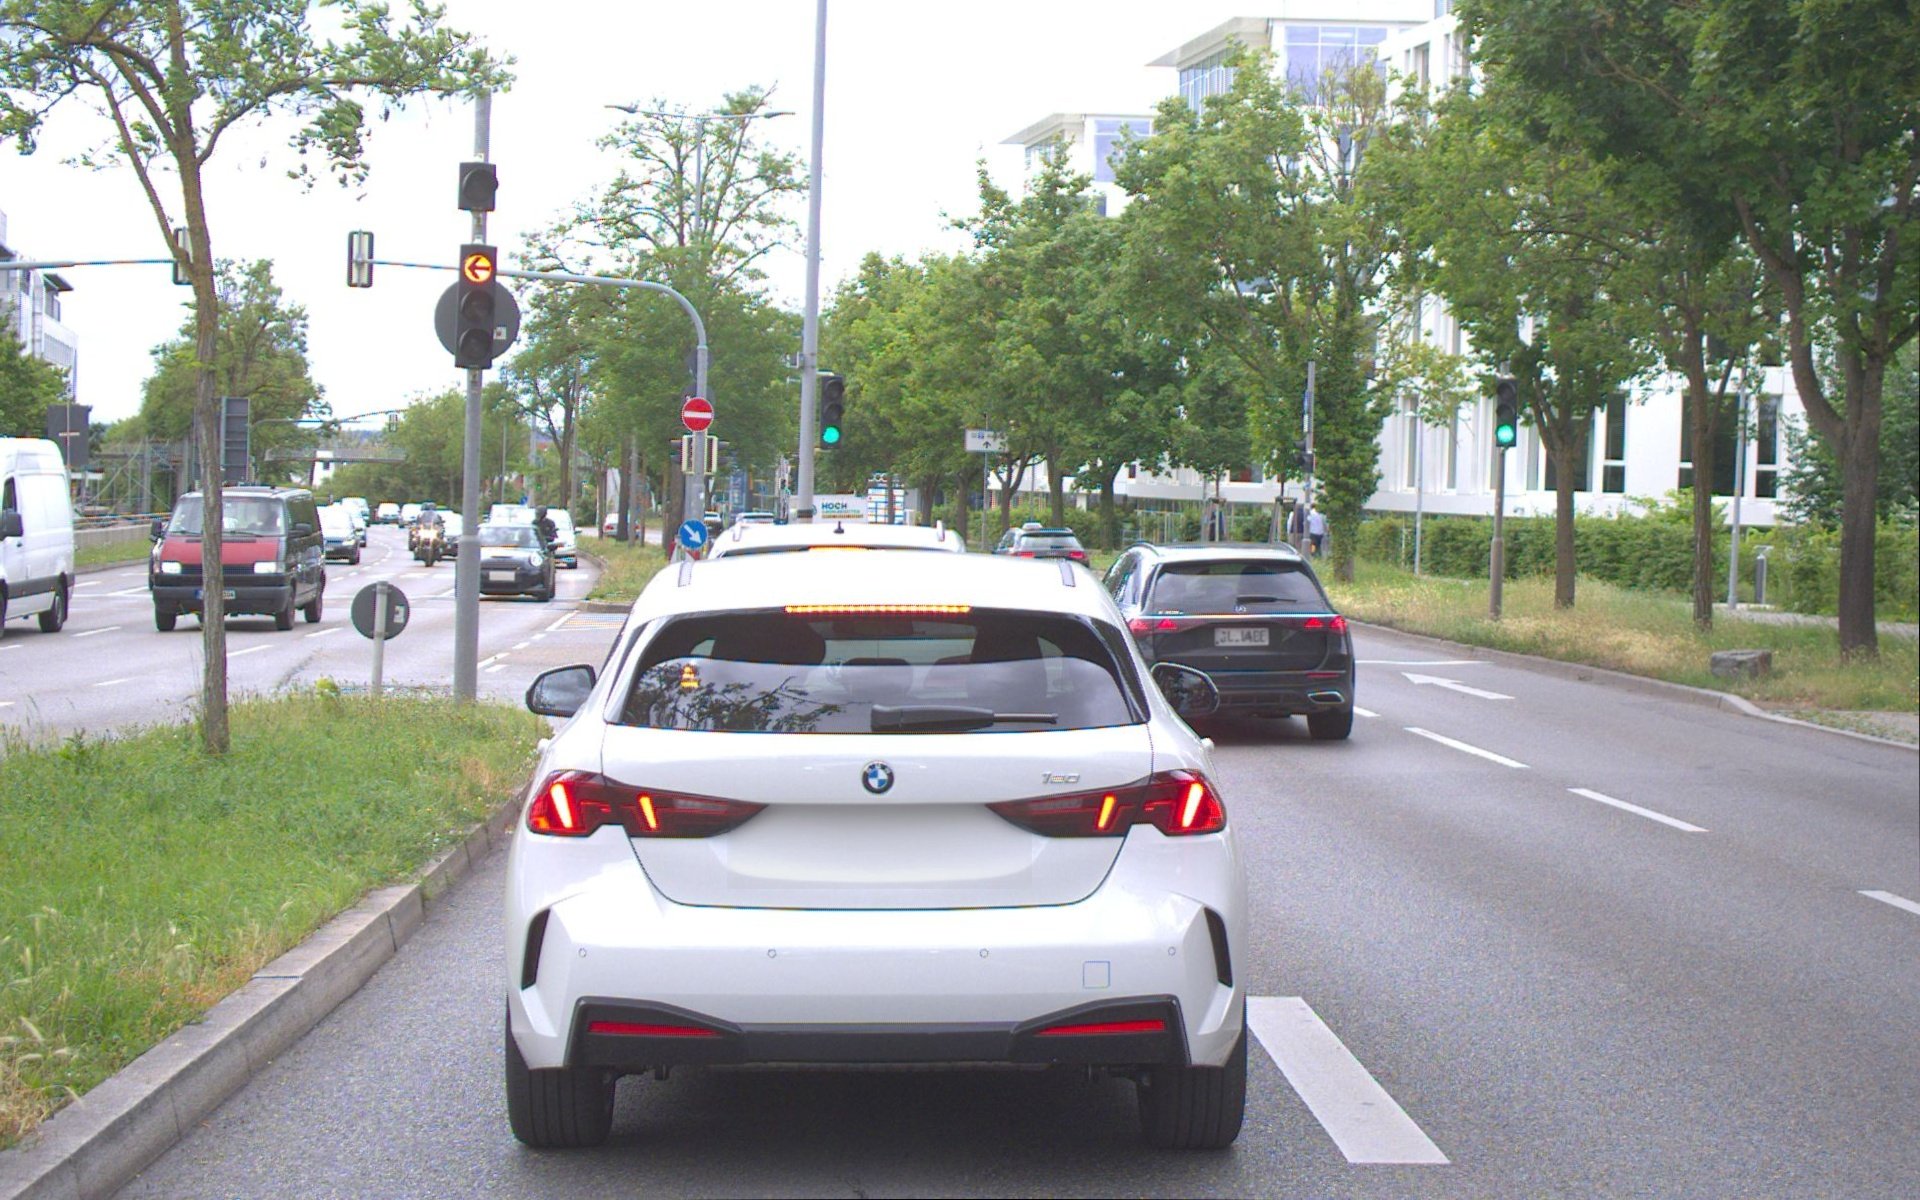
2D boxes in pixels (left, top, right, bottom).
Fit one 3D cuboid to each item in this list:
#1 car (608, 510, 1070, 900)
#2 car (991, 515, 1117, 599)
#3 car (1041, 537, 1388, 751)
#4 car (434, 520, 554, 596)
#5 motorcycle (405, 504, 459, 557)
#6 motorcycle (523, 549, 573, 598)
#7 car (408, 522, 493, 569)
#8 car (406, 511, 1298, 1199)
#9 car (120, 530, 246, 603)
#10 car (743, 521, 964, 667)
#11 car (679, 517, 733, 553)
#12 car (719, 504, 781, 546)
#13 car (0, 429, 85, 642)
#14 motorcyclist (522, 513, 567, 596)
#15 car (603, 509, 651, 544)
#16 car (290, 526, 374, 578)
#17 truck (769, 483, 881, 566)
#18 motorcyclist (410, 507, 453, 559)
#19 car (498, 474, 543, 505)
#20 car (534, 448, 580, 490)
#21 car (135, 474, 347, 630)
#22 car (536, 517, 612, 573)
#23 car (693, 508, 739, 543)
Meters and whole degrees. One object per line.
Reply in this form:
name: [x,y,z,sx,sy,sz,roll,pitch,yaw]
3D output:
car: [-0.529,0.438,17.121,1.993,1.666,4.000,1,1,0]
car: [1.854,-0.892,69.244,1.993,1.590,4.001,1,1,-6]
car: [1.852,0.268,26.690,2.053,1.481,4.974,0,1,-3]
car: [-8.567,-0.791,63.482,1.754,1.366,3.780,0,1,-1]
motorcycle: [-14.466,-1.911,94.257,0.889,1.393,4.000,1,1,-1]
motorcycle: [-9.312,-0.614,77.811,0.838,1.060,2.653,1,1,-1]
car: [-15.436,-1.666,104.326,1.993,1.349,4.000,1,1,-1]
car: [-0.175,0.532,9.305,1.863,1.444,4.000,1,1,2]
car: [-15.531,-0.689,68.850,1.708,1.414,3.803,0,1,-1]
car: [-1.128,-0.084,38.498,1.994,1.503,3.999,1,1,5]
car: [-11.155,-2.849,150.941,1.993,1.503,4.001,1,1,-9]
car: [-7.841,-2.813,128.203,1.993,1.503,4.001,1,1,-8]
car: [-12.906,-0.881,44.244,1.993,2.625,5.876,3,1,-4]
motorcyclist: [-9.390,-1.031,77.717,0.848,1.830,1.259,1,1,-1]
car: [-15.120,-3.343,156.205,1.993,1.485,4.001,2,1,-3]
car: [-17.641,-1.359,96.751,1.708,1.414,3.803,0,1,-1]
truck: [-4.379,-2.385,110.164,2.858,2.511,6.289,1,1,-9]
motorcyclist: [-14.460,-1.835,94.071,0.910,1.387,1.674,1,1,-1]
car: [-24.599,-6.164,192.510,1.993,1.612,4.000,3,1,-1]
car: [-20.548,-6.662,175.536,1.993,2.004,4.325,3,1,-3]
car: [-10.012,-0.727,48.266,1.935,1.911,4.975,-1,3,-1]
car: [-10.618,-1.531,94.713,1.708,1.492,3.803,0,1,-1]
car: [-10.966,-3.337,154.640,1.993,1.485,4.001,2,1,-3]
